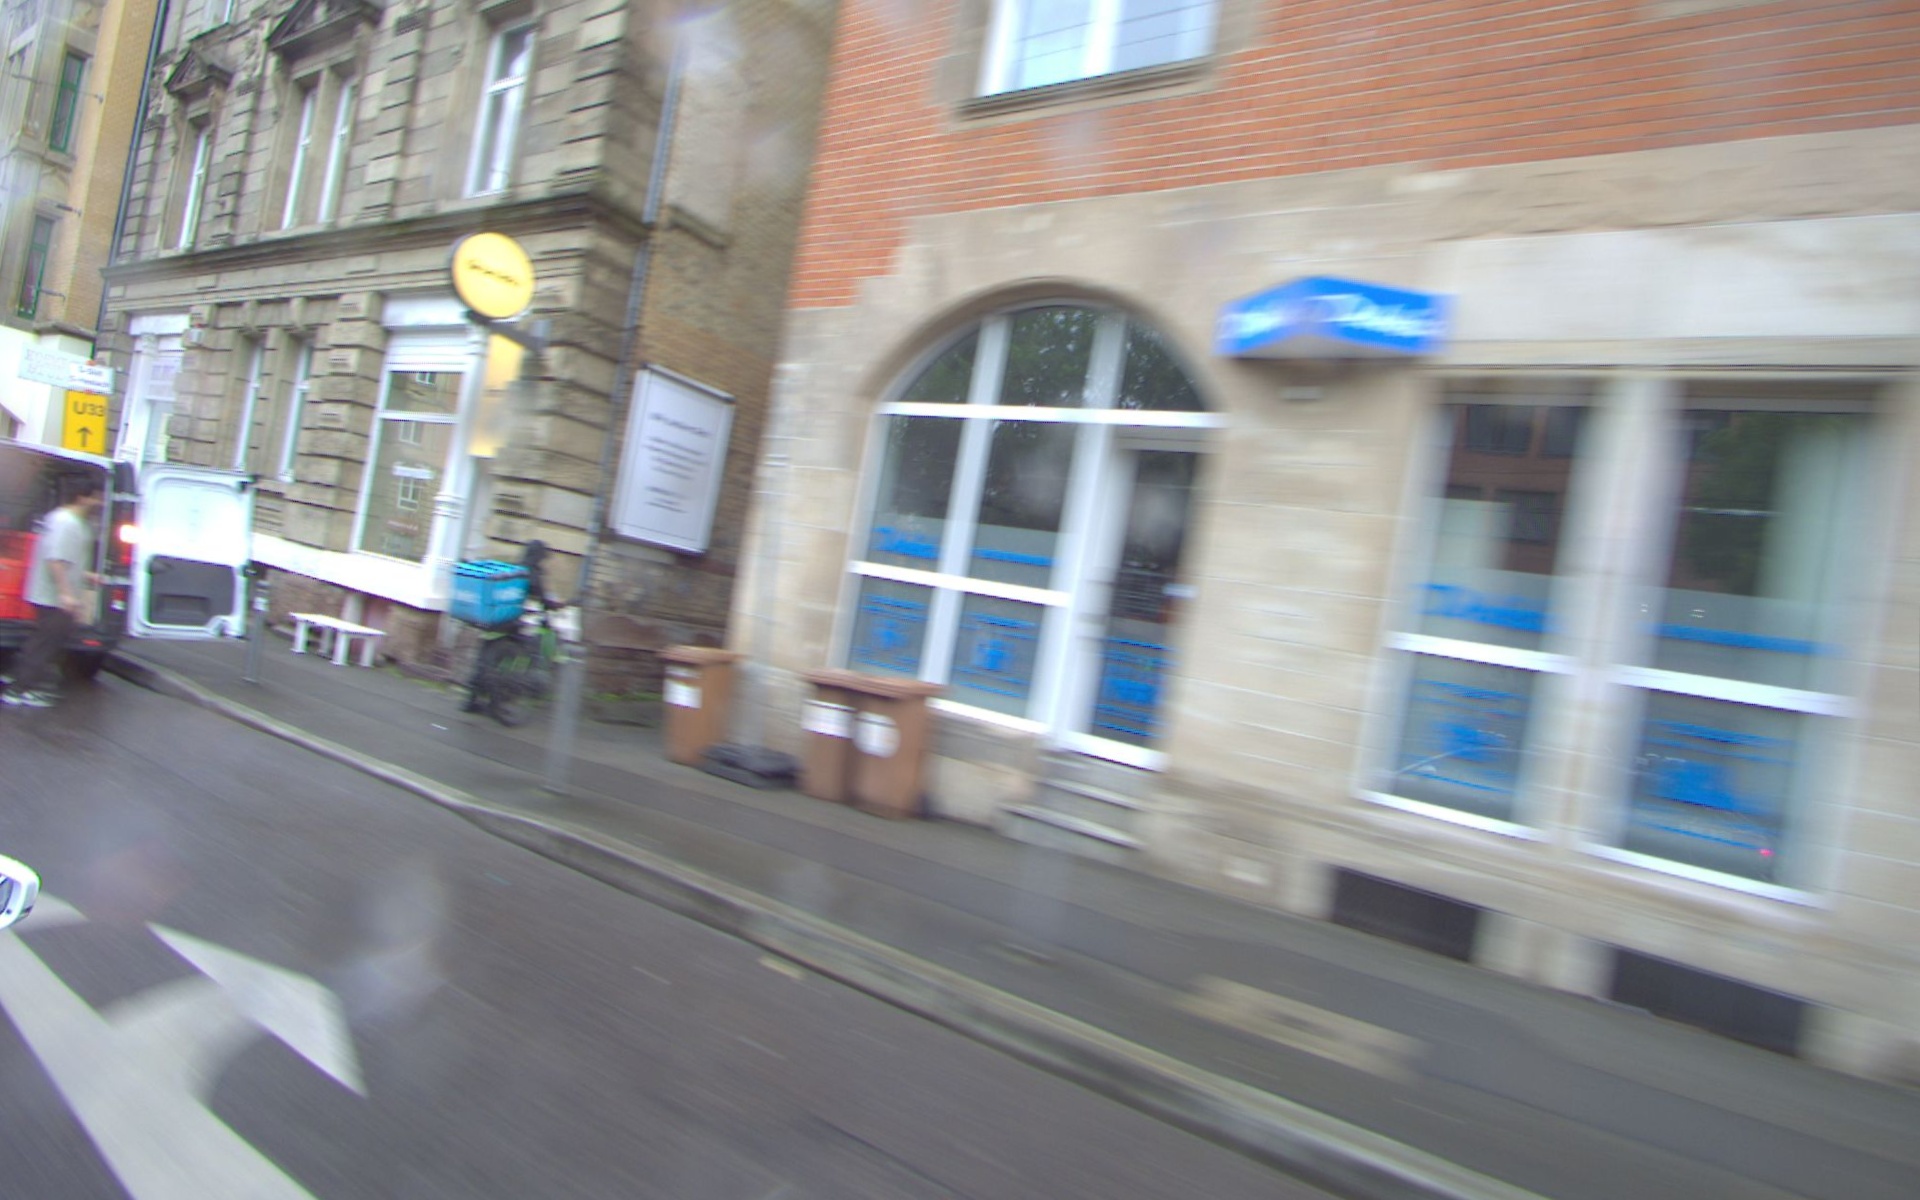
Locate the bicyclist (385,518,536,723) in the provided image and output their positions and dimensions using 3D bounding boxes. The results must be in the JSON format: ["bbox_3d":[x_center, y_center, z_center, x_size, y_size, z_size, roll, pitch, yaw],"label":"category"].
[{"bbox_3d":[-4.434,0.195,8.988,0.619,1.676,0.851,7,-1,12],"label":"bicyclist"}]

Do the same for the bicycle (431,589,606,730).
[{"bbox_3d":[-3.991,0.548,9.254,0.456,1.128,1.691,7,-2,12],"label":"bicycle"}]

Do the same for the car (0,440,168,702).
[{"bbox_3d":[-9.245,-0.451,9.065,4.612,1.957,1.924,7,-3,36],"label":"car"}]

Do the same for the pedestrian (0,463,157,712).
[{"bbox_3d":[-6.912,-0.081,7.736,0.676,1.774,0.834,7,-1,38],"label":"pedestrian"}]
